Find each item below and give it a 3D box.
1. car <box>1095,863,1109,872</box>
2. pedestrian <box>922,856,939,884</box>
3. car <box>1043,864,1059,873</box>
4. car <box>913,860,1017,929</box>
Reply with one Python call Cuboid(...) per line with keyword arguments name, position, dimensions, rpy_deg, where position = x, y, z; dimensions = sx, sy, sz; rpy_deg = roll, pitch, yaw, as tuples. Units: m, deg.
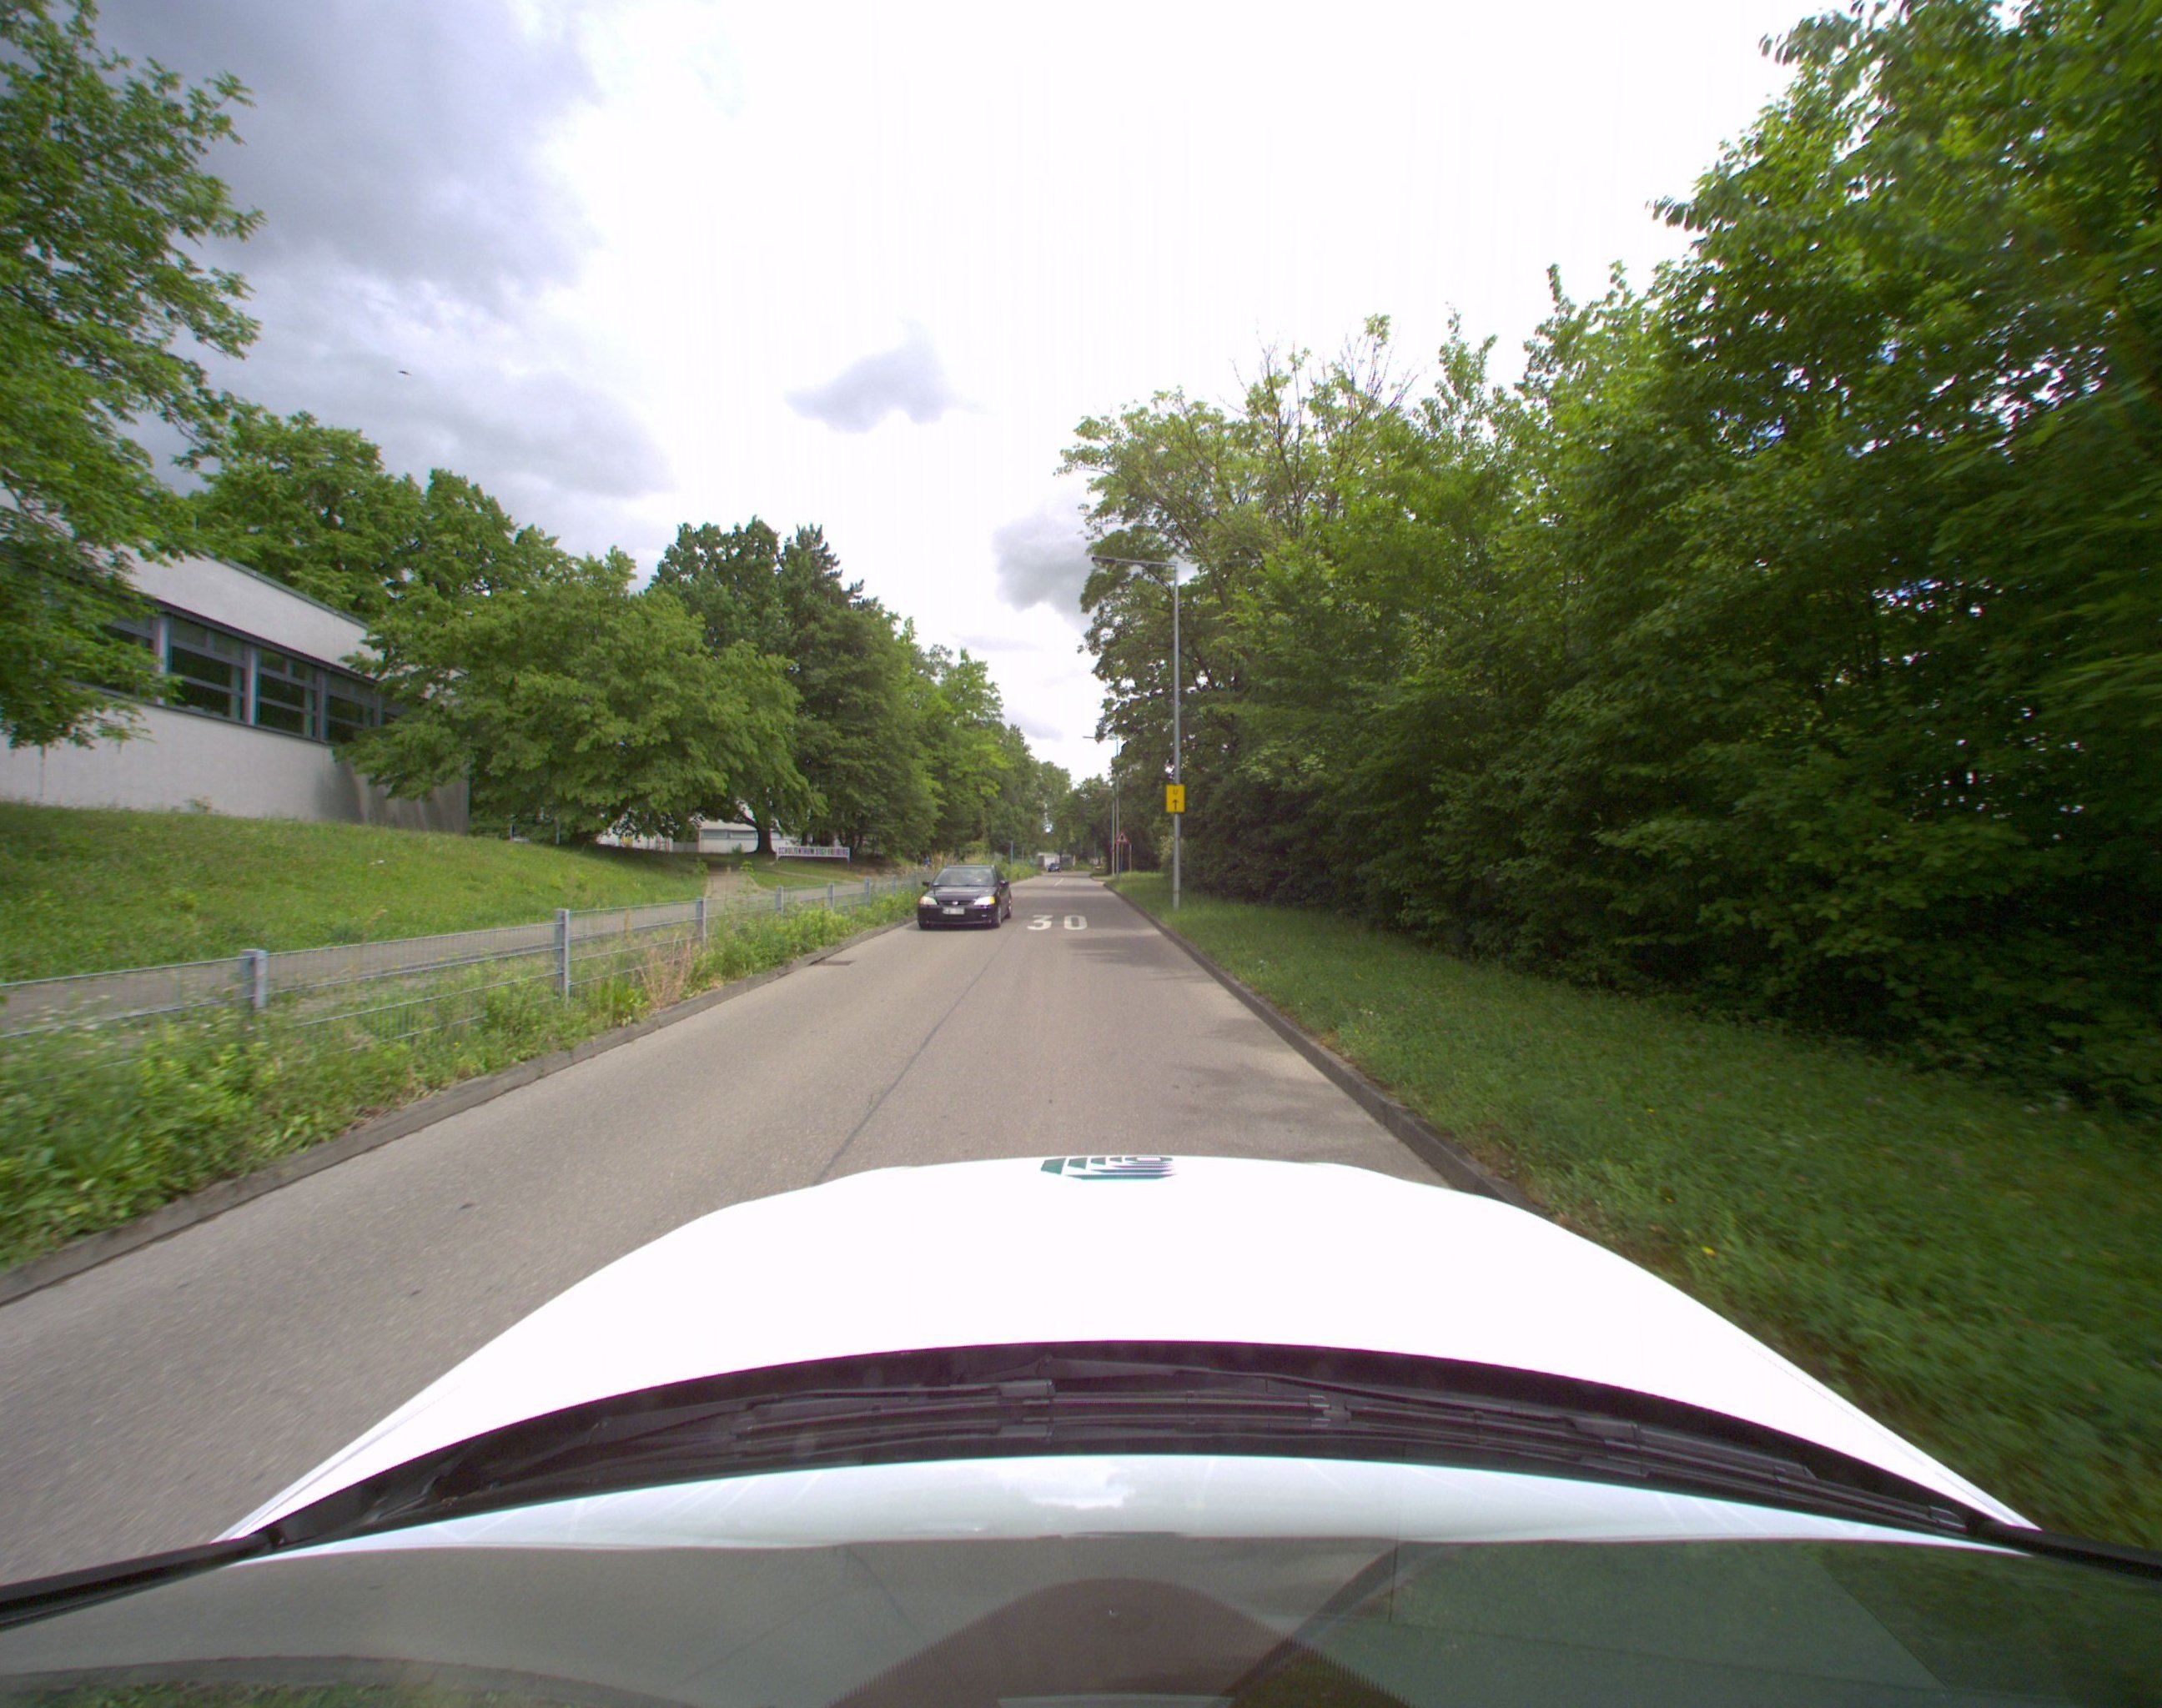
Cuboid(name="car", position=(4.286, 2.768, 166.837), dimensions=(1.846, 1.492, 4.014), rpy_deg=(-3, -3, 14))
Cuboid(name="pedestrian", position=(-10.828, 1.156, 58.633), dimensions=(0.867, 2.014, 0.872), rpy_deg=(-5, -5, 45))
Cuboid(name="car", position=(-4.762, 2.318, 129.185), dimensions=(1.968, 1.383, 4.008), rpy_deg=(1, 0, 7))
Cuboid(name="car", position=(-2.500, 0.832, 18.463), dimensions=(1.687, 1.349, 4.095), rpy_deg=(-1, 0, 1))
